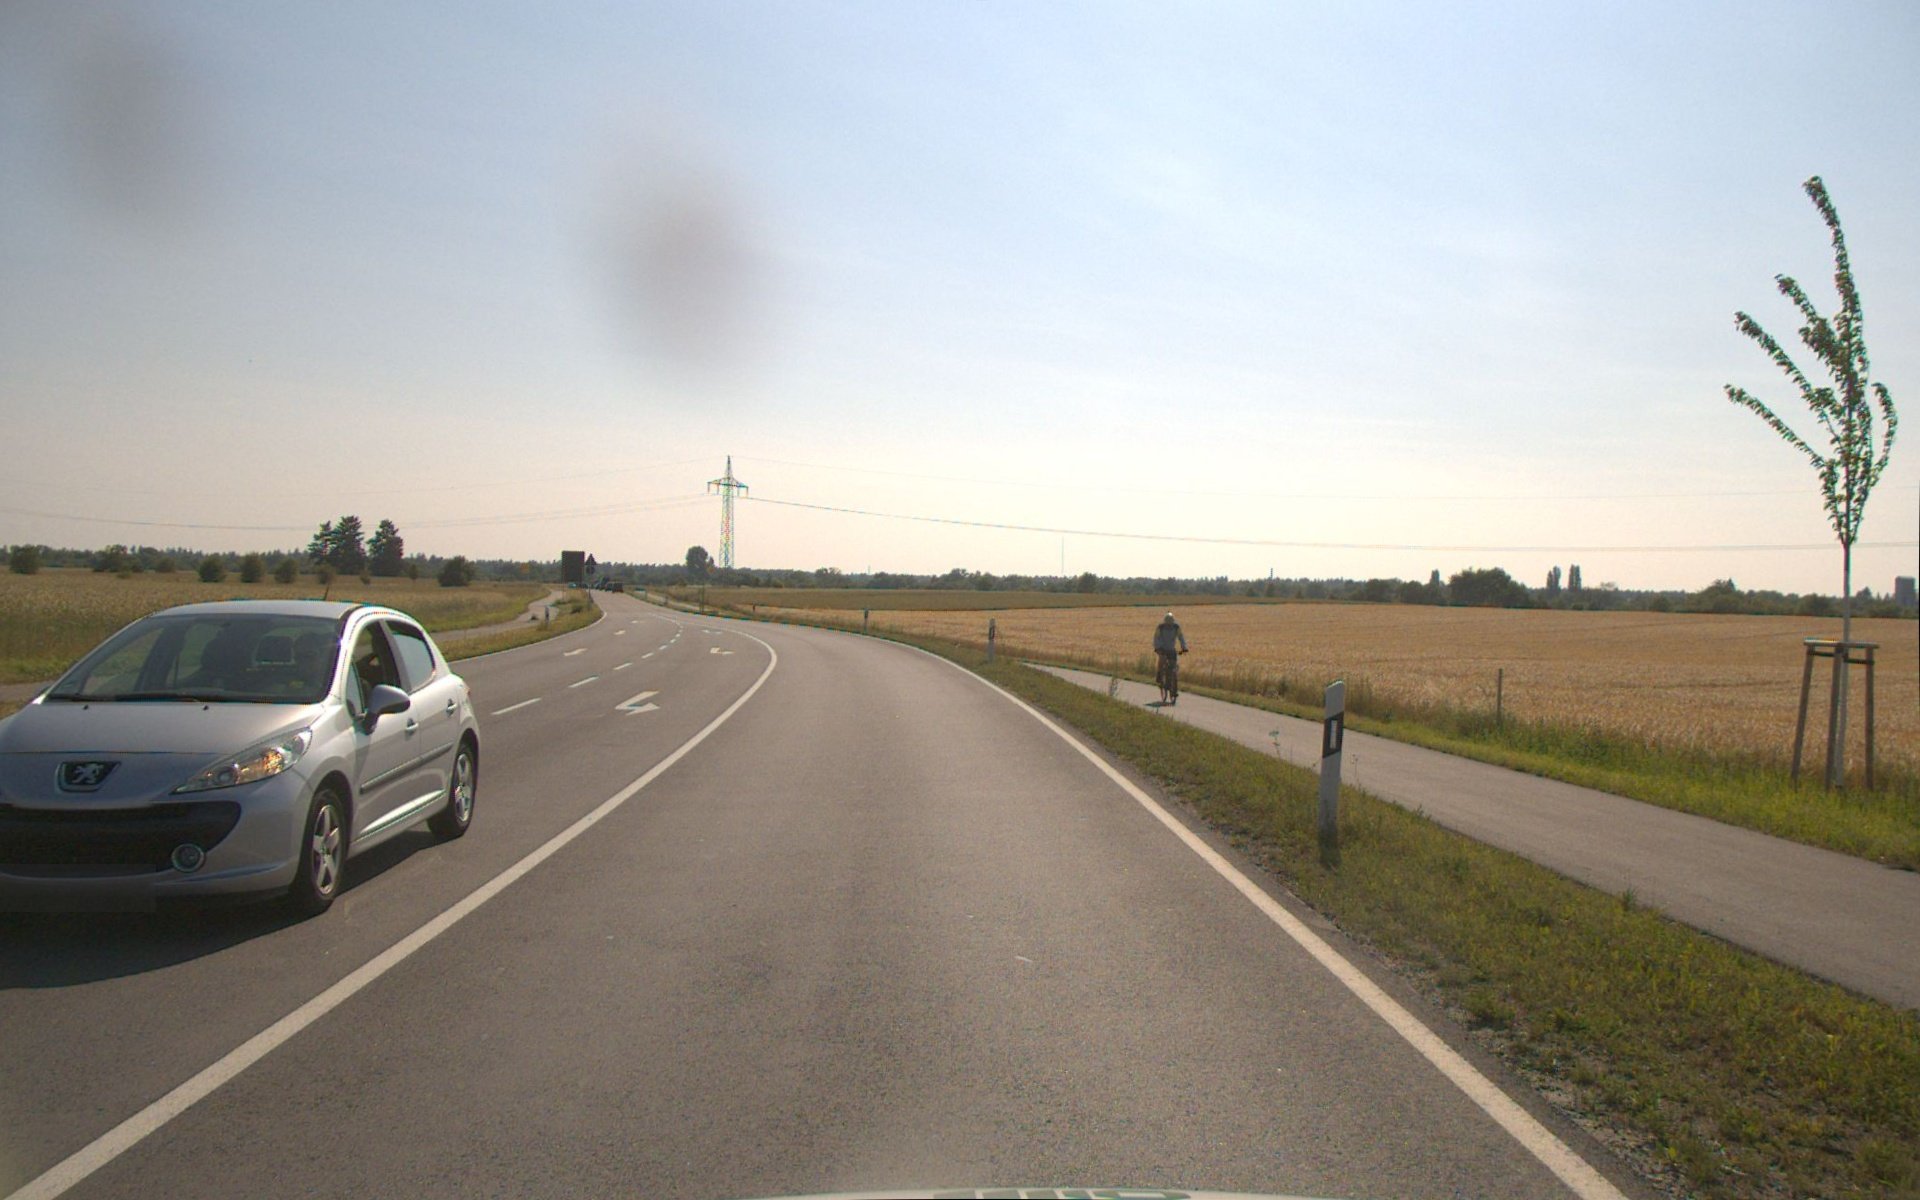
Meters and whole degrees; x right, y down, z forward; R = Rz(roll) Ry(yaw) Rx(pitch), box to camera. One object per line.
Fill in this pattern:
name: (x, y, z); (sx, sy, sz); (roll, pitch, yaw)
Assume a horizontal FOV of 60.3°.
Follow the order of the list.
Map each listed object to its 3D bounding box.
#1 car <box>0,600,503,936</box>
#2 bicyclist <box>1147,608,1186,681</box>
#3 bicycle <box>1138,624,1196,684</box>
car: (-3.849, 0.719, 9.056); (1.652, 1.428, 3.999); (0, 0, -1)
bicyclist: (4.325, 0.929, 34.661); (0.625, 1.482, 0.816); (3, -1, -2)
bicycle: (4.309, 1.113, 34.554); (0.828, 1.162, 2.205); (3, 0, -2)
